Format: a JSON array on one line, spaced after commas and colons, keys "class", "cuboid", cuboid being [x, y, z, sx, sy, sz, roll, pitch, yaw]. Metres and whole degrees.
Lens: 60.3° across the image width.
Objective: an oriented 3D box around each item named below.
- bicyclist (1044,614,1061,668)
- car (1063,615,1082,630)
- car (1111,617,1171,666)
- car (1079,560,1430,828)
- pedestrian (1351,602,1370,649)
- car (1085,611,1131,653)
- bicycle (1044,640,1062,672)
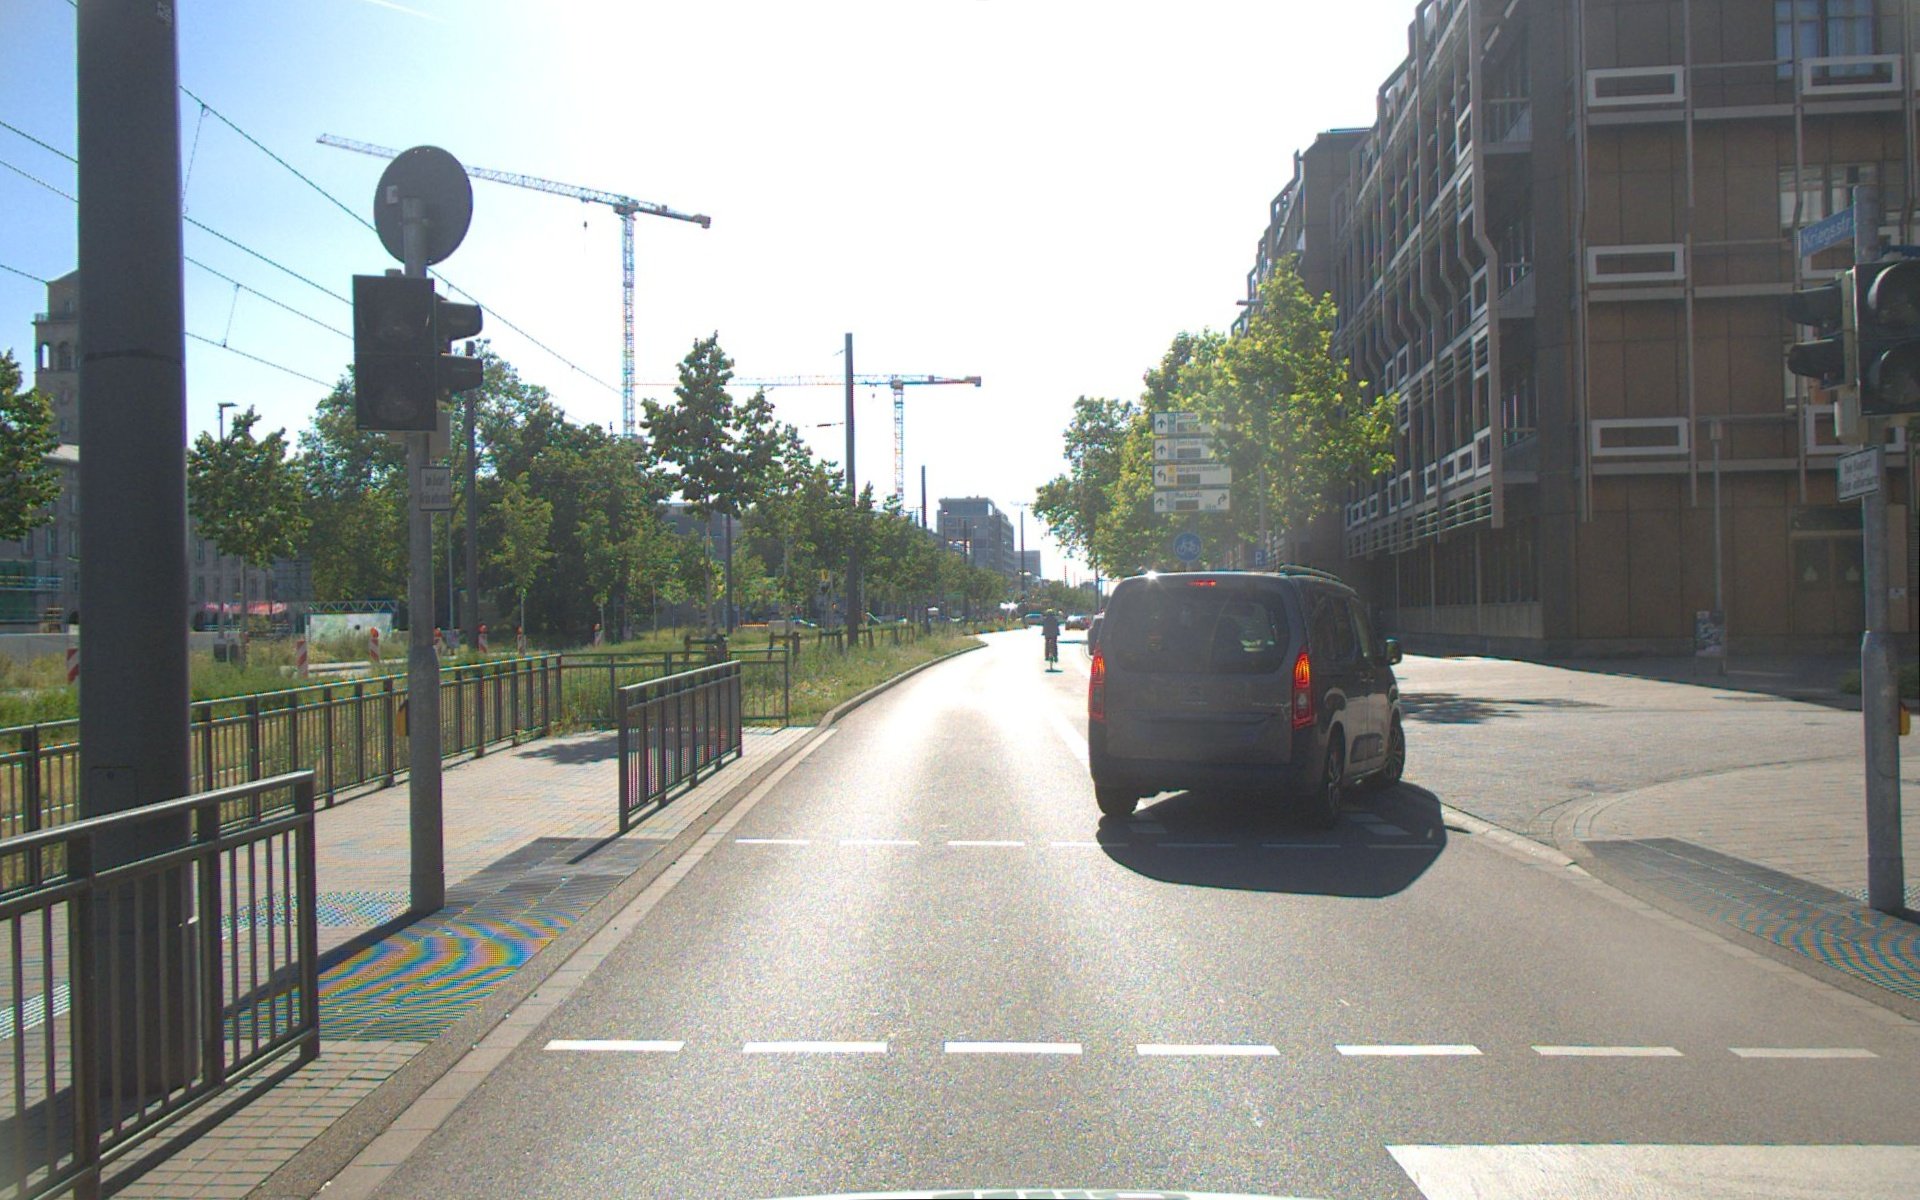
[{"class": "bicyclist", "cuboid": [2.838, 1.257, 50.659, 0.502, 1.629, 0.536, -1, -1, 2]}, {"class": "car", "cuboid": [11.792, 2.373, 172.777, 1.871, 1.513, 4.012, -1, 0, 6]}, {"class": "car", "cuboid": [5.934, 1.350, 54.487, 1.584, 1.490, 4.156, -2, -1, 2]}, {"class": "car", "cuboid": [2.528, 0.656, 13.307, 1.775, 1.783, 4.164, -1, -1, 25]}, {"class": "pedestrian", "cuboid": [14.612, 0.928, 60.362, 0.500, 1.651, 0.674, -3, -1, 6]}, {"class": "car", "cuboid": [6.455, 1.381, 72.565, 1.810, 1.686, 4.850, -2, -1, 4]}, {"class": "bicycle", "cuboid": [2.830, 1.711, 50.510, 0.487, 0.922, 2.197, 1, -1, 2]}]
